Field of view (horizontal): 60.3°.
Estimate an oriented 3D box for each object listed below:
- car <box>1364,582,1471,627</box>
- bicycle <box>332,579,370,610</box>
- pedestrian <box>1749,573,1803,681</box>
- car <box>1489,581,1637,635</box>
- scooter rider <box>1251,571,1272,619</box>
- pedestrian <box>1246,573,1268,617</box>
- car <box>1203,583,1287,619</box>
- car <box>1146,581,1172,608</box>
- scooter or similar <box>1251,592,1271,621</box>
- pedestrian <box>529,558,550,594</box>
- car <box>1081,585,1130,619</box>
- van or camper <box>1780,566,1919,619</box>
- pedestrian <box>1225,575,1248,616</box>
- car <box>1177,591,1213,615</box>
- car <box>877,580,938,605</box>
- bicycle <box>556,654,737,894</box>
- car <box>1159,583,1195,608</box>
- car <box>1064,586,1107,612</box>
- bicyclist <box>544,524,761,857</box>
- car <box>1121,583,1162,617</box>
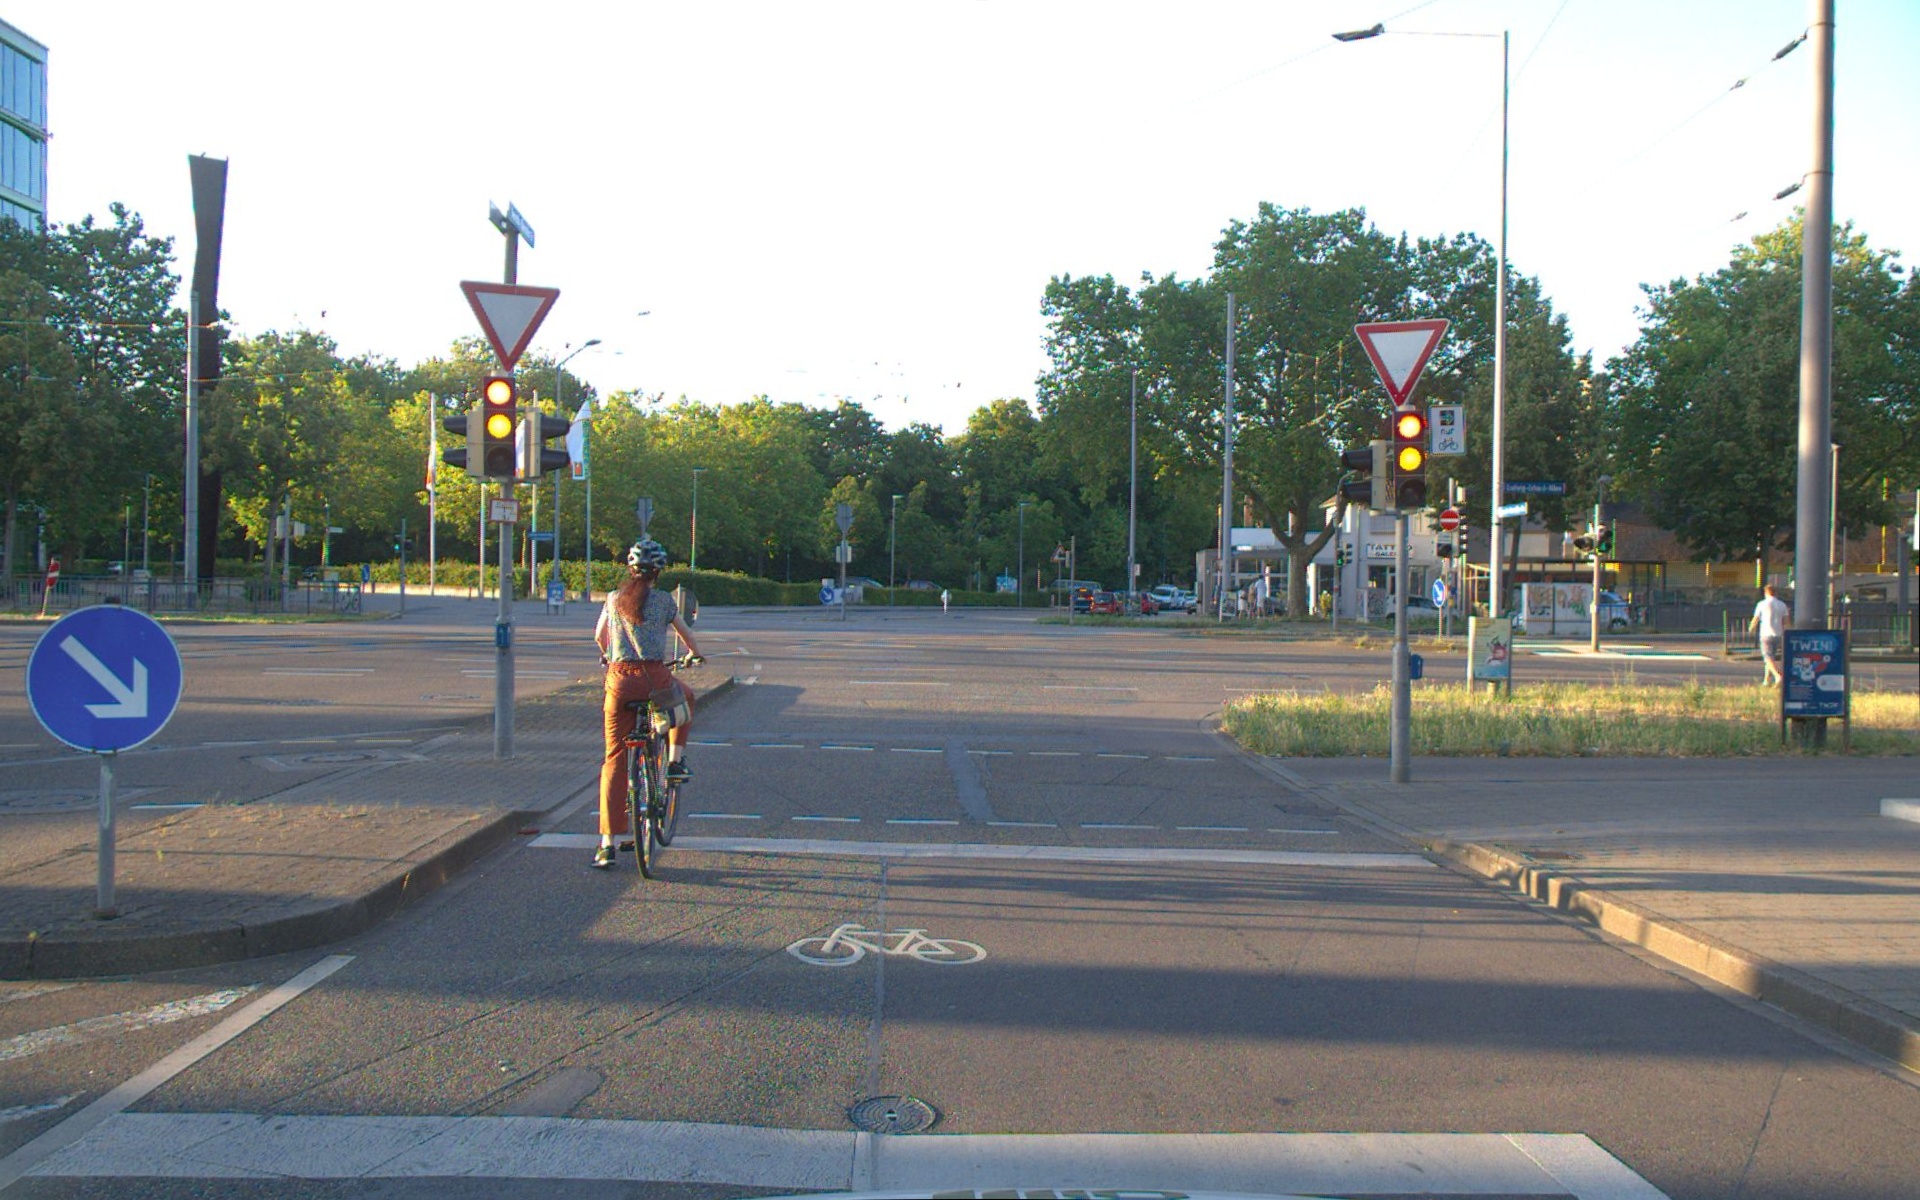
[{"bbox_3d":[20.088,0.185,72.771,4.142,1.878,2.001,1,0,2],"label":"car"},{"bbox_3d":[-23.134,-0.217,62.883,0.685,1.156,2.391,1,1,-3],"label":"bicycle"},{"bbox_3d":[14.072,0.452,28.538,0.746,1.822,0.802,1,0,23],"label":"pedestrian"},{"bbox_3d":[20.814,0.269,57.151,4.445,1.758,1.860,1,0,-5],"label":"car"},{"bbox_3d":[11.871,-0.203,65.151,0.688,1.887,0.669,1,-1,-1],"label":"scooter rider"},{"bbox_3d":[12.154,-0.224,67.715,0.704,1.785,0.897,1,0,23],"label":"pedestrian"},{"bbox_3d":[15.316,0.045,89.188,4.285,1.867,1.950,1,1,4],"label":"car"},{"bbox_3d":[15.815,-0.436,131.413,1.951,2.049,4.003,1,1,6],"label":"car"},{"bbox_3d":[11.850,0.258,65.150,0.499,1.109,1.243,1,0,-1],"label":"scooter or similar"},{"bbox_3d":[-21.301,-1.230,83.813,0.884,1.785,0.715,1,0,-26],"label":"pedestrian"},{"bbox_3d":[8.447,0.107,95.820,1.829,1.907,3.875,1,1,20],"label":"car"},{"bbox_3d":[43.638,-0.360,80.391,6.426,2.452,2.265,1,0,3],"label":"van or camper"},{"bbox_3d":[11.481,-0.203,68.647,0.704,1.667,0.897,1,0,23],"label":"pedestrian"},{"bbox_3d":[16.444,0.174,115.752,1.875,1.630,4.002,1,1,17],"label":"car"},{"bbox_3d":[-3.432,-0.527,109.465,3.905,1.588,2.000,1,0,1],"label":"car"},{"bbox_3d":[-1.686,0.893,9.211,0.621,1.086,2.122,1,1,-1],"label":"bicycle"},{"bbox_3d":[17.850,-0.381,135.951,1.953,2.049,3.998,1,1,24],"label":"car"},{"bbox_3d":[7.936,-0.071,104.217,1.718,1.568,4.402,0,-1,19],"label":"car"},{"bbox_3d":[-1.684,0.473,9.224,1.011,1.748,0.996,1,0,-1],"label":"bicyclist"},{"bbox_3d":[11.374,-0.025,103.479,1.875,2.083,4.002,1,1,17],"label":"car"}]
